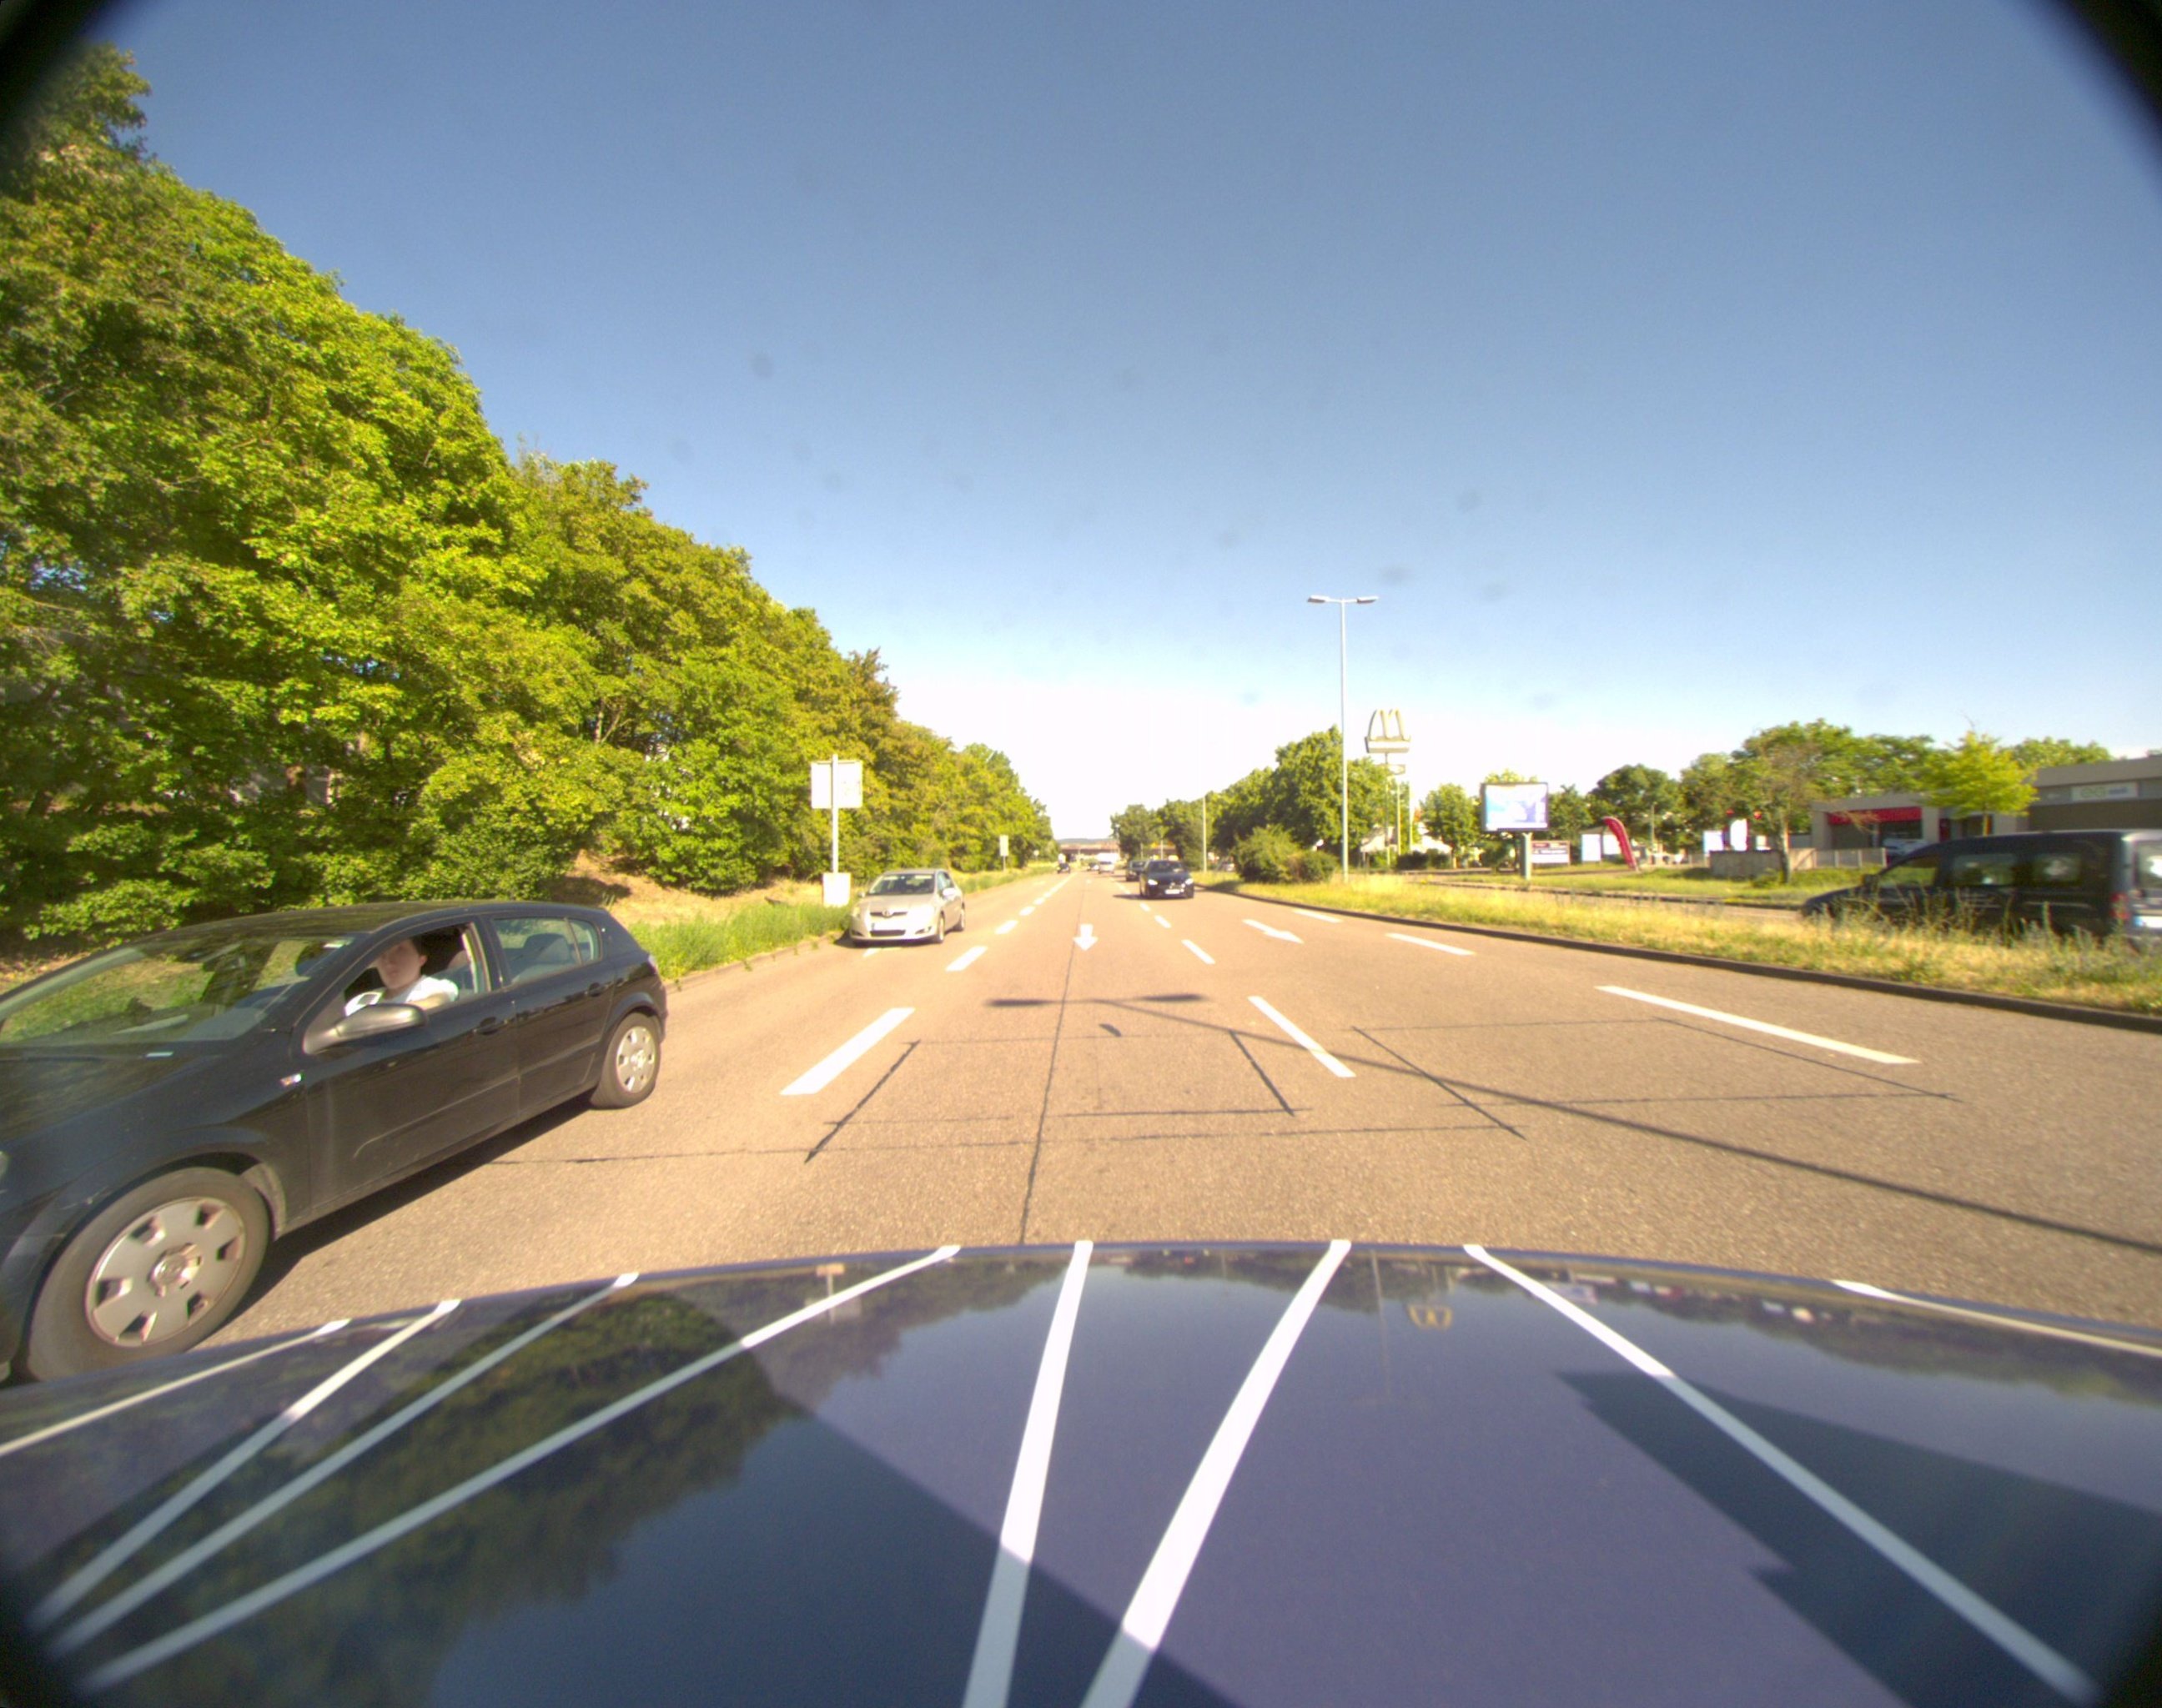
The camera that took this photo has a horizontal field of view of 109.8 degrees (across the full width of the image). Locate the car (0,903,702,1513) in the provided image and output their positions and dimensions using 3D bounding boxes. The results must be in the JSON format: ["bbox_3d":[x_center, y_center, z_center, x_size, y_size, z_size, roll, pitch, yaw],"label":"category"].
[{"bbox_3d":[-3.853,1.131,3.681,1.738,1.433,4.371,-2,0,1],"label":"car"}]

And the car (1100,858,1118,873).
[{"bbox_3d":[3.212,1.308,88.217,2.025,1.601,4.098,-2,0,1],"label":"car"}]

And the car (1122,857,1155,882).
[{"bbox_3d":[3.972,1.045,52.990,1.952,1.501,4.462,-2,1,1],"label":"car"}]

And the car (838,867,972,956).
[{"bbox_3d":[-3.552,1.111,16.147,1.788,1.528,4.108,-2,0,1],"label":"car"}]

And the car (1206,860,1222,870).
[{"bbox_3d":[23.290,1.891,133.680,1.998,1.619,4.771,-2,1,1],"label":"car"}]

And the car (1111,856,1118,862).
[{"bbox_3d":[9.033,1.321,205.806,1.998,1.433,4.000,-1,0,2],"label":"car"}]

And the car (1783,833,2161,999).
[{"bbox_3d":[12.735,0.677,10.726,1.682,1.837,4.294,-2,1,0],"label":"car"}]

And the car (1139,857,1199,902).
[{"bbox_3d":[3.336,0.925,29.652,1.788,1.592,4.583,-1,0,0],"label":"car"}]

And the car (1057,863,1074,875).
[{"bbox_3d":[-2.101,2.060,104.492,2.036,1.601,4.098,-2,0,1],"label":"car"}]
